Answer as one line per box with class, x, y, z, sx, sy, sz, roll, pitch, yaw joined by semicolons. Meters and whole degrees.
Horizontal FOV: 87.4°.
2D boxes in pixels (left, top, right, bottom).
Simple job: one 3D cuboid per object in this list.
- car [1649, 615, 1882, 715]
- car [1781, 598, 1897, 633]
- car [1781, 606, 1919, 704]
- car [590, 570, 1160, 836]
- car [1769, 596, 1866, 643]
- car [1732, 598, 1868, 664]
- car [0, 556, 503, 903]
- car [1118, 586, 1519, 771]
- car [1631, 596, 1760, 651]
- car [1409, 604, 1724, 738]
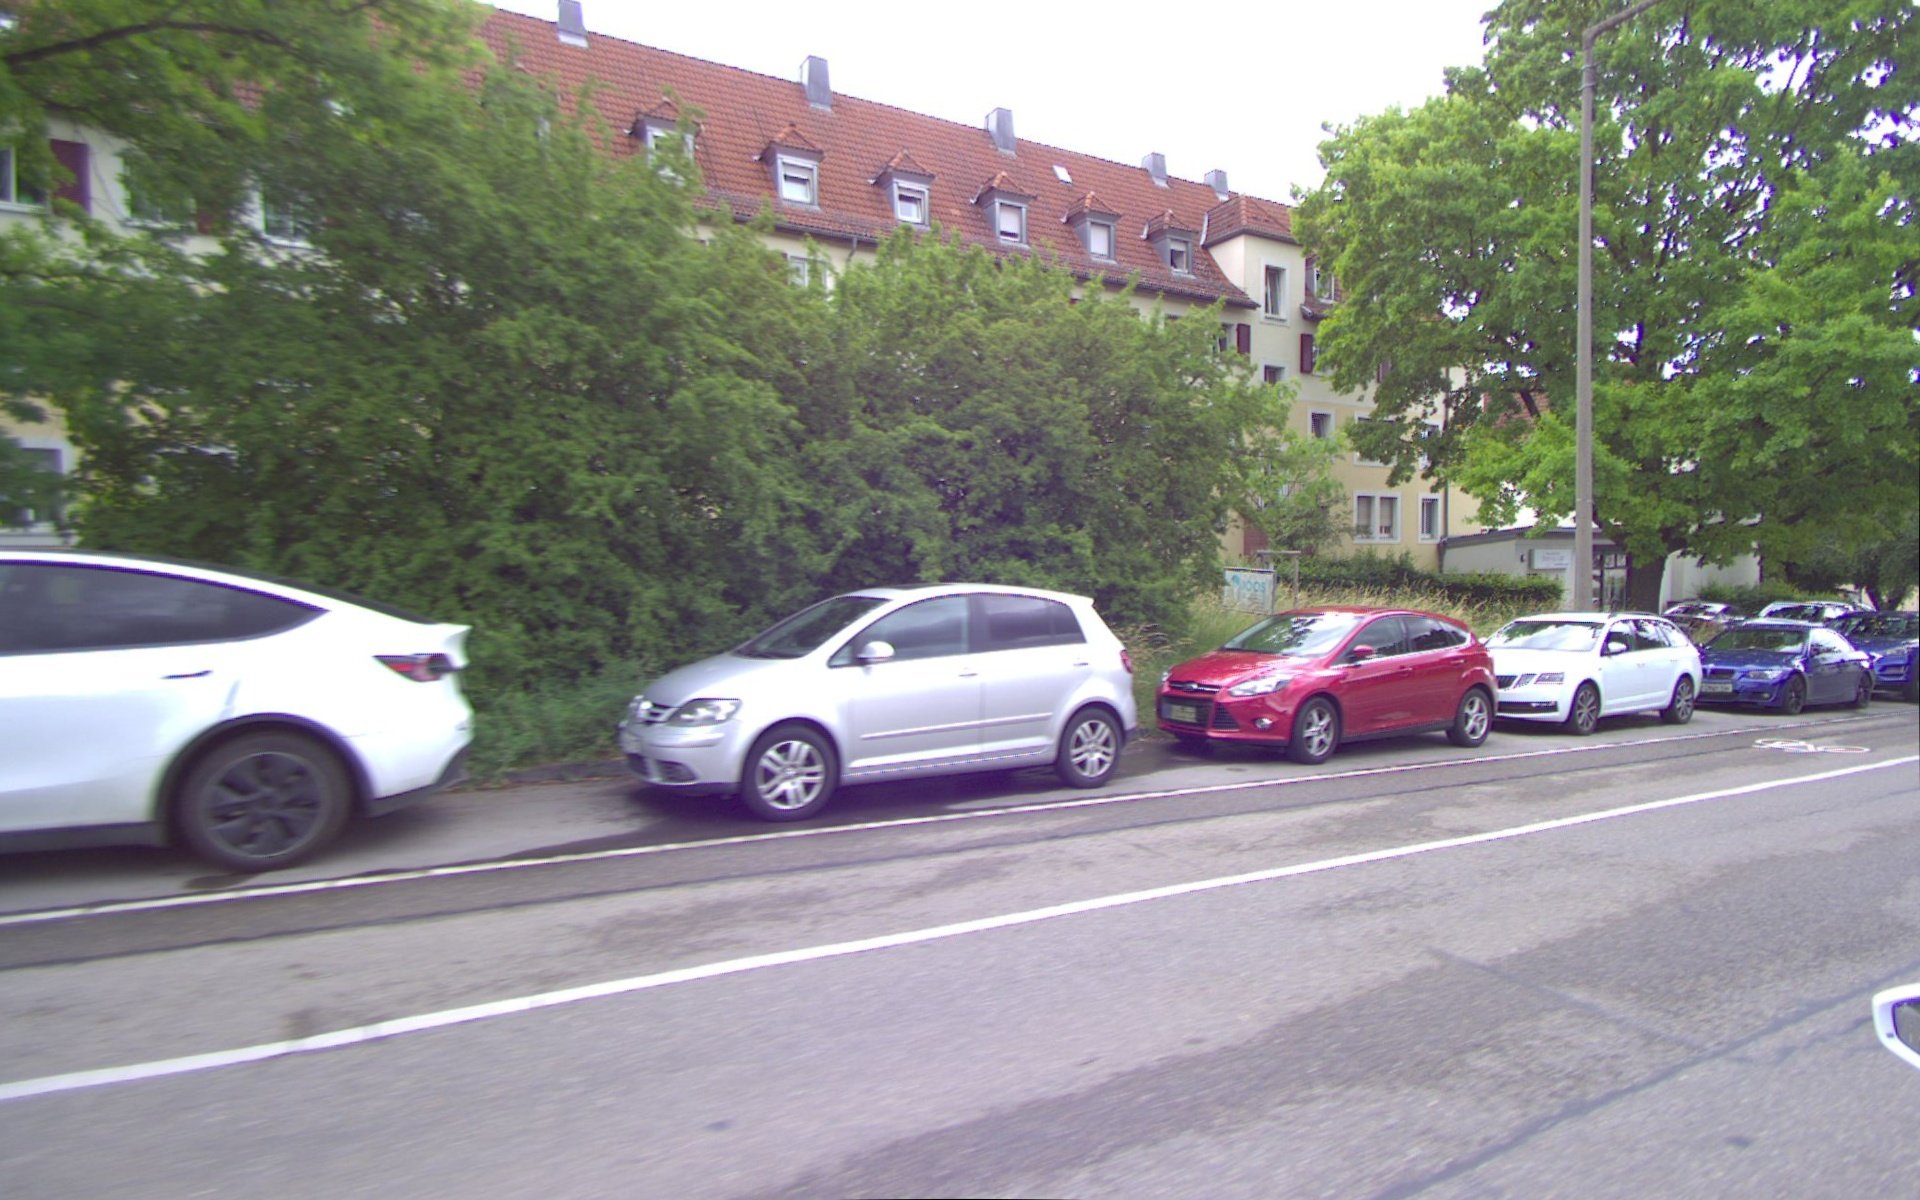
car;13.325;0.991;16.550;4.291;1.408;1.705;1;1;-33
car;53.089;0.911;60.760;1.981;1.838;4.958;1;2;-36
car;17.906;0.997;19.491;4.485;1.634;1.705;1;2;-33
car;-0.581;0.636;7.915;4.075;1.594;1.857;1;1;-33
car;32.879;0.746;38.481;4.244;1.655;1.750;1;2;-34
car;24.224;0.867;28.941;3.955;1.655;1.752;1;4;-32
car;-5.035;0.587;5.266;4.701;1.594;1.760;1;0;-29
car;3.893;0.720;10.672;4.323;1.594;1.705;1;1;-33
car;22.815;0.712;31.123;4.394;1.490;1.750;1;4;-34
car;8.230;0.861;13.499;4.705;1.479;1.705;1;1;-33
